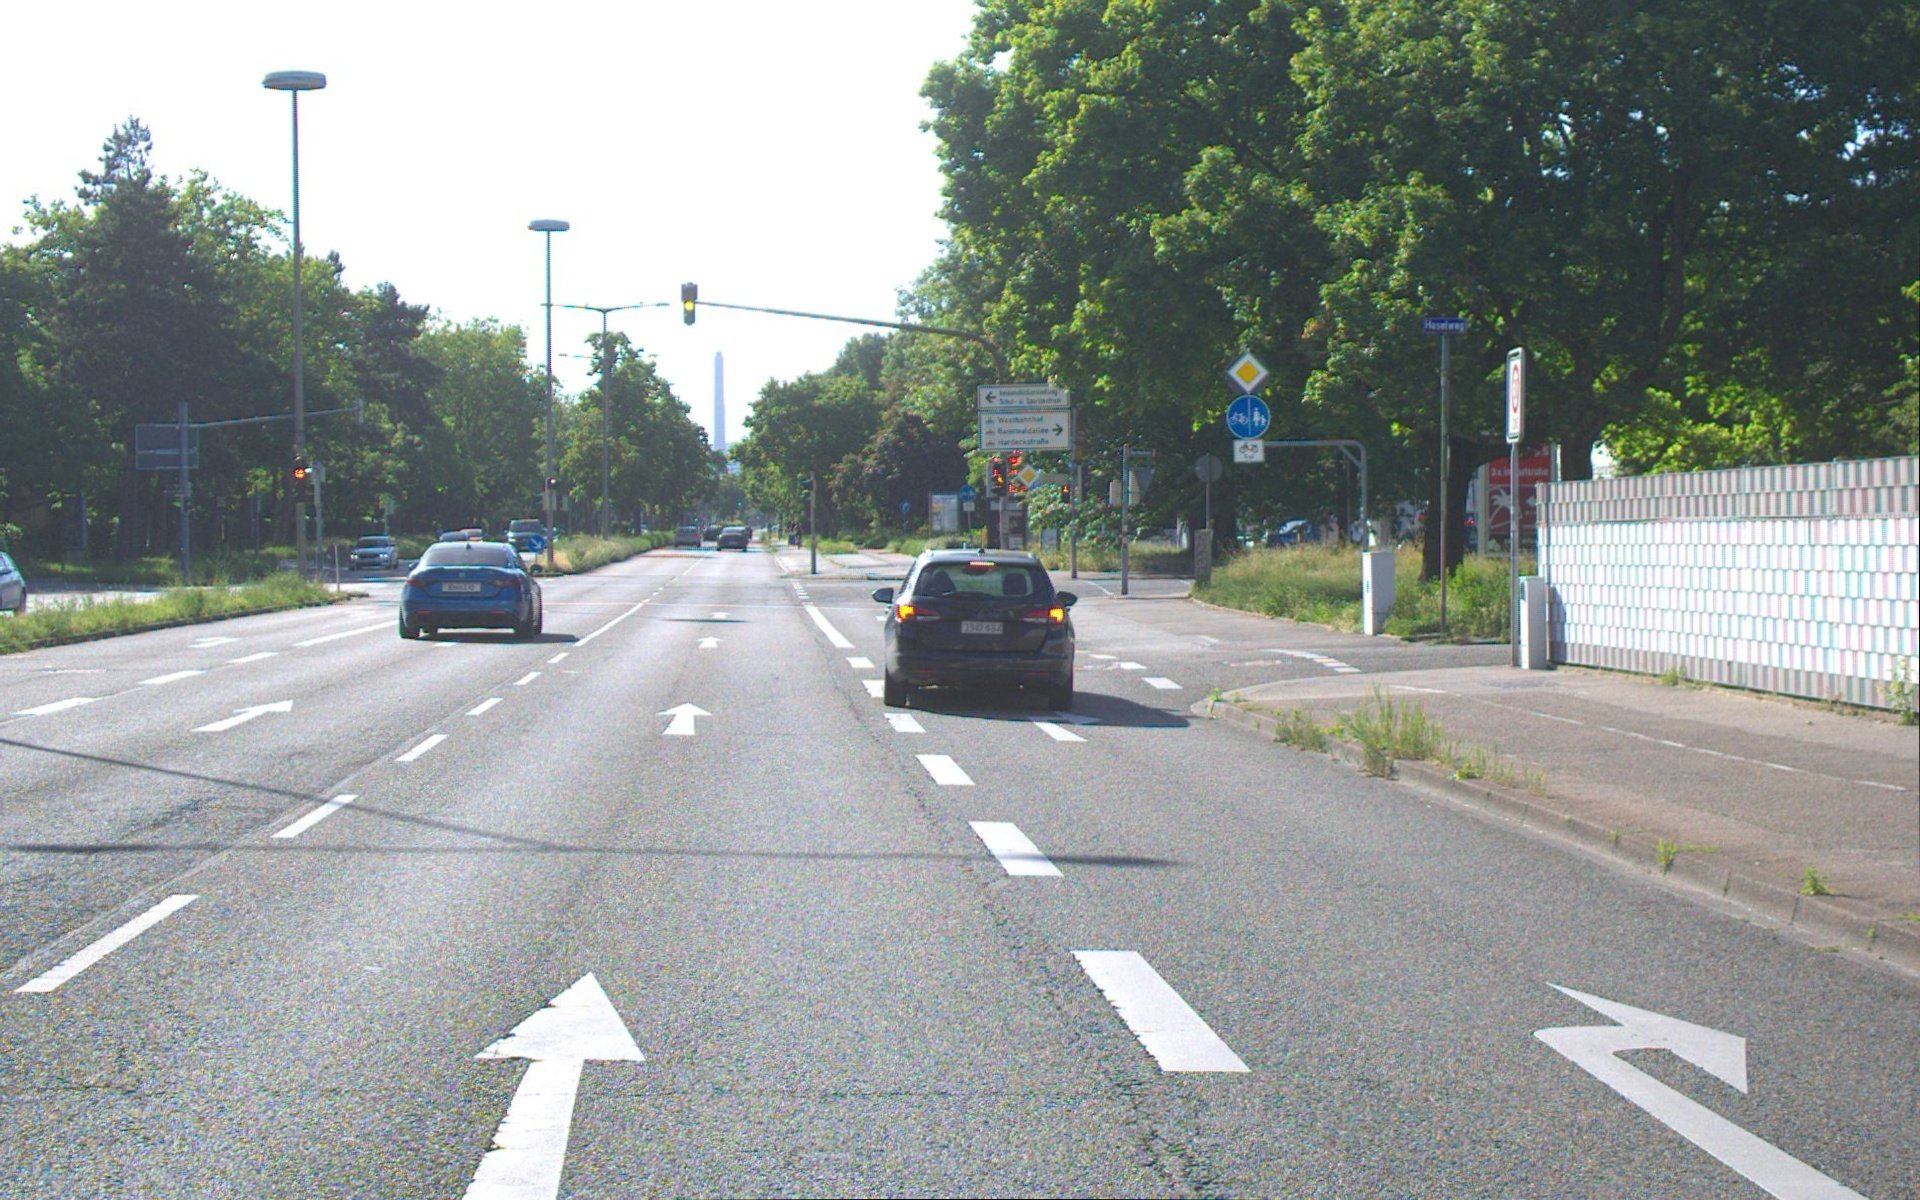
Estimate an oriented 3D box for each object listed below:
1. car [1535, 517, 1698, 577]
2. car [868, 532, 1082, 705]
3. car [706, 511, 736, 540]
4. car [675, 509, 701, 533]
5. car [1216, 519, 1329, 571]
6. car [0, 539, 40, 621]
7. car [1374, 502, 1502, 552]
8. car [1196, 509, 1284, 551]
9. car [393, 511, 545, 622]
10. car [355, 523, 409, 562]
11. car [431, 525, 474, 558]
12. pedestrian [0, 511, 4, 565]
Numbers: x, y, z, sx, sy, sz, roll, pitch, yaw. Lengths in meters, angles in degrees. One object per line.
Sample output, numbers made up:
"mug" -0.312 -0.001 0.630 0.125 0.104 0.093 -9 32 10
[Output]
"car" 17.116 -1.369 89.721 3.827 1.455 1.738 1 0 -2
"car" 0.082 0.165 32.886 1.755 1.504 3.809 2 0 -4
"car" -14.632 -4.563 210.860 1.732 1.579 3.841 3 0 -4
"car" -19.012 -5.520 240.418 1.824 1.609 3.841 0 1 -4
"car" 11.413 -1.991 125.498 3.711 1.679 1.704 3 0 -29
"car" -20.821 -0.451 72.217 1.912 1.697 4.408 3 -1 -3
"car" 16.201 -2.473 116.488 3.834 1.477 1.806 3 0 -22
"car" 12.948 -3.225 158.902 3.711 1.679 1.704 3 0 -6
"car" -7.227 -0.484 50.927 1.888 1.547 4.000 1 0 -3
"car" -25.349 -2.542 150.832 1.864 1.678 4.261 0 1 -3
"car" -27.861 -3.189 188.803 1.864 1.678 4.000 3 0 -3
"pedestrian" -32.954 -2.110 116.557 0.846 1.829 0.549 1 -2 1
